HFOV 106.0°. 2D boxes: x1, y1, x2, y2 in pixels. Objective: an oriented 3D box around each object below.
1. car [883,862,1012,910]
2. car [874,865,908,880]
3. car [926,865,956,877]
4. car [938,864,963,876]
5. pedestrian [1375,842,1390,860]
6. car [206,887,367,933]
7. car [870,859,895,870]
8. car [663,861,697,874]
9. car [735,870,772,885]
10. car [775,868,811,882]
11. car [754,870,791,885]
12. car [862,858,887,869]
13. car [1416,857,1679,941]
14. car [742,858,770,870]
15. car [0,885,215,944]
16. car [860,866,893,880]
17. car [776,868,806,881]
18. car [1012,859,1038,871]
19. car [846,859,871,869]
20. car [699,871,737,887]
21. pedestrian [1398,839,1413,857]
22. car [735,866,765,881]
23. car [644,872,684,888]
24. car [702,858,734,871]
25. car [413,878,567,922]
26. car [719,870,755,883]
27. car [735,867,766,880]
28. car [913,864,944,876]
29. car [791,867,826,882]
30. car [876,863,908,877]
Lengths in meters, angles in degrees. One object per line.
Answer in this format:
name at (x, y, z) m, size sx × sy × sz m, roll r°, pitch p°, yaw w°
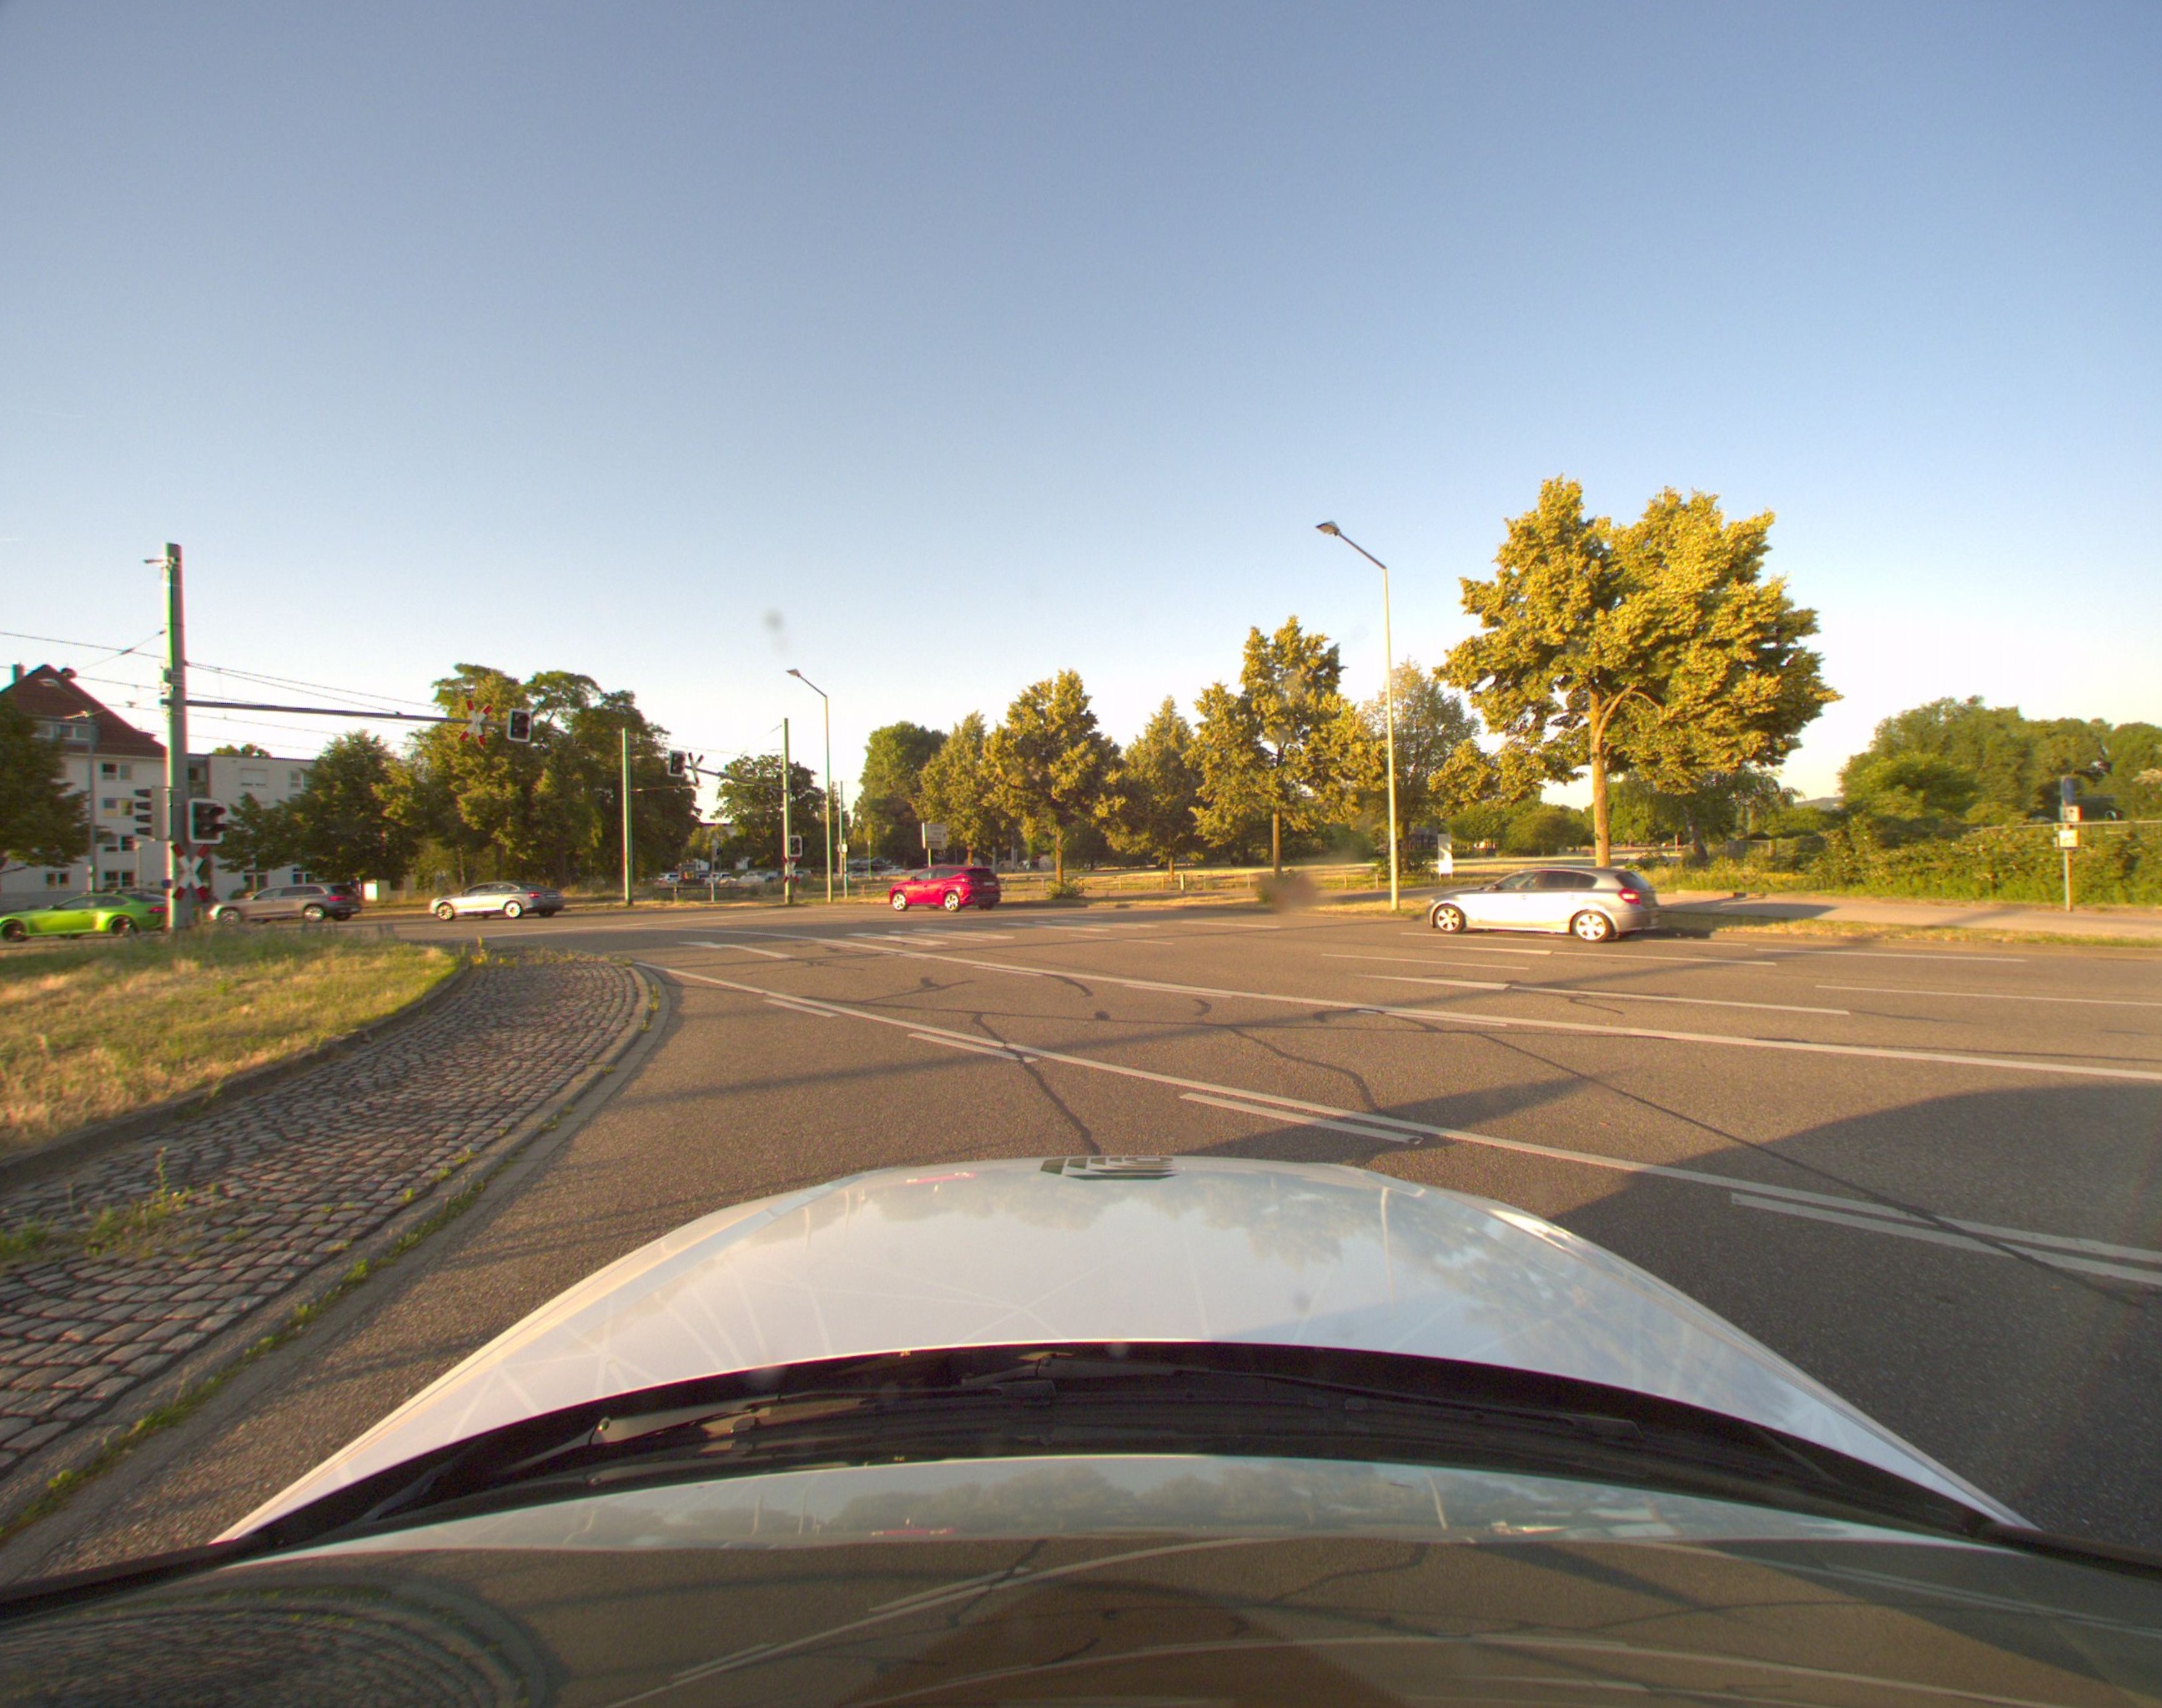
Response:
car at (-4.833, 1.121, 29.250) m, size 4.358 × 1.573 × 2.013 m, roll -2°, pitch 0°, yaw 34°
car at (-27.659, 2.681, 118.511) m, size 4.578 × 2.013 × 1.995 m, roll -2°, pitch 0°, yaw -7°
car at (-19.999, 2.370, 116.481) m, size 3.948 × 1.604 × 2.013 m, roll -2°, pitch 0°, yaw 34°
car at (-20.848, 2.525, 129.988) m, size 2.008 × 1.752 × 4.549 m, roll -1°, pitch 1°, yaw -35°
pedestrian at (28.669, -0.275, 77.429) m, size 1.064 × 1.617 × 0.911 m, roll -2°, pitch 0°, yaw 4°
car at (-33.492, 2.347, 34.465) m, size 4.510 × 1.637 × 1.994 m, roll -2°, pitch 0°, yaw -9°
car at (-35.692, 1.885, 146.435) m, size 3.964 × 1.706 × 2.005 m, roll -2°, pitch 0°, yaw 8°
car at (-65.672, 2.233, 133.320) m, size 1.974 × 2.013 × 4.627 m, roll -2°, pitch 0°, yaw 32°
car at (-37.057, 2.706, 92.060) m, size 3.948 × 1.604 × 2.013 m, roll -2°, pitch 0°, yaw 34°
car at (-33.705, 2.448, 95.429) m, size 3.948 × 1.604 × 2.013 m, roll -2°, pitch 0°, yaw 34°
car at (-35.513, 2.708, 93.670) m, size 3.948 × 1.604 × 2.013 m, roll -2°, pitch 0°, yaw 34°
car at (-37.969, 1.775, 150.041) m, size 1.975 × 2.013 × 4.025 m, roll -2°, pitch 0°, yaw 42°
car at (9.067, 0.820, 16.078) m, size 1.878 × 1.390 × 4.112 m, roll -1°, pitch -1°, yaw -42°
car at (-57.846, 1.803, 144.930) m, size 1.974 × 2.013 × 4.143 m, roll -2°, pitch 0°, yaw 36°
car at (-31.175, 1.883, 26.005) m, size 4.470 × 1.579 × 1.994 m, roll -2°, pitch 0°, yaw -9°
car at (-26.677, 2.482, 105.986) m, size 3.948 × 1.604 × 2.013 m, roll -2°, pitch 0°, yaw 34°
car at (-41.307, 2.881, 115.994) m, size 4.001 × 1.662 × 1.889 m, roll -2°, pitch 0°, yaw -20°
car at (-7.962, 1.520, 115.263) m, size 1.748 × 1.618 × 3.954 m, roll -1°, pitch 0°, yaw -39°
car at (-41.758, 1.885, 153.020) m, size 1.974 × 1.816 × 4.026 m, roll -2°, pitch 0°, yaw 37°
car at (-39.027, 2.684, 87.540) m, size 3.948 × 1.604 × 2.013 m, roll -2°, pitch 0°, yaw 34°
pedestrian at (30.469, -0.563, 76.541) m, size 1.064 × 1.617 × 0.911 m, roll -2°, pitch 0°, yaw 4°
car at (-48.035, 2.776, 118.245) m, size 4.006 × 2.013 × 1.984 m, roll -2°, pitch 0°, yaw -24°
car at (-42.657, 2.676, 83.322) m, size 3.948 × 1.604 × 2.013 m, roll -2°, pitch 0°, yaw 34°
car at (-61.934, 1.788, 139.059) m, size 1.974 × 2.013 × 4.628 m, roll -2°, pitch 0°, yaw 36°
car at (-22.716, 1.748, 31.408) m, size 4.633 × 1.464 × 1.889 m, roll -2°, pitch 0°, yaw 5°
car at (-46.121, 3.014, 109.142) m, size 1.878 × 1.662 × 4.026 m, roll -2°, pitch 0°, yaw 37°
car at (-46.236, 2.783, 113.941) m, size 4.005 × 1.662 × 1.984 m, roll -2°, pitch 0°, yaw -24°
car at (-21.474, 2.313, 114.786) m, size 3.948 × 1.604 × 2.013 m, roll -2°, pitch 0°, yaw 34°
car at (-32.640, 2.458, 97.609) m, size 3.948 × 1.604 × 2.013 m, roll -2°, pitch 0°, yaw 34°
car at (-29.385, 2.412, 126.698) m, size 4.578 × 2.013 × 1.995 m, roll -2°, pitch 0°, yaw -7°
